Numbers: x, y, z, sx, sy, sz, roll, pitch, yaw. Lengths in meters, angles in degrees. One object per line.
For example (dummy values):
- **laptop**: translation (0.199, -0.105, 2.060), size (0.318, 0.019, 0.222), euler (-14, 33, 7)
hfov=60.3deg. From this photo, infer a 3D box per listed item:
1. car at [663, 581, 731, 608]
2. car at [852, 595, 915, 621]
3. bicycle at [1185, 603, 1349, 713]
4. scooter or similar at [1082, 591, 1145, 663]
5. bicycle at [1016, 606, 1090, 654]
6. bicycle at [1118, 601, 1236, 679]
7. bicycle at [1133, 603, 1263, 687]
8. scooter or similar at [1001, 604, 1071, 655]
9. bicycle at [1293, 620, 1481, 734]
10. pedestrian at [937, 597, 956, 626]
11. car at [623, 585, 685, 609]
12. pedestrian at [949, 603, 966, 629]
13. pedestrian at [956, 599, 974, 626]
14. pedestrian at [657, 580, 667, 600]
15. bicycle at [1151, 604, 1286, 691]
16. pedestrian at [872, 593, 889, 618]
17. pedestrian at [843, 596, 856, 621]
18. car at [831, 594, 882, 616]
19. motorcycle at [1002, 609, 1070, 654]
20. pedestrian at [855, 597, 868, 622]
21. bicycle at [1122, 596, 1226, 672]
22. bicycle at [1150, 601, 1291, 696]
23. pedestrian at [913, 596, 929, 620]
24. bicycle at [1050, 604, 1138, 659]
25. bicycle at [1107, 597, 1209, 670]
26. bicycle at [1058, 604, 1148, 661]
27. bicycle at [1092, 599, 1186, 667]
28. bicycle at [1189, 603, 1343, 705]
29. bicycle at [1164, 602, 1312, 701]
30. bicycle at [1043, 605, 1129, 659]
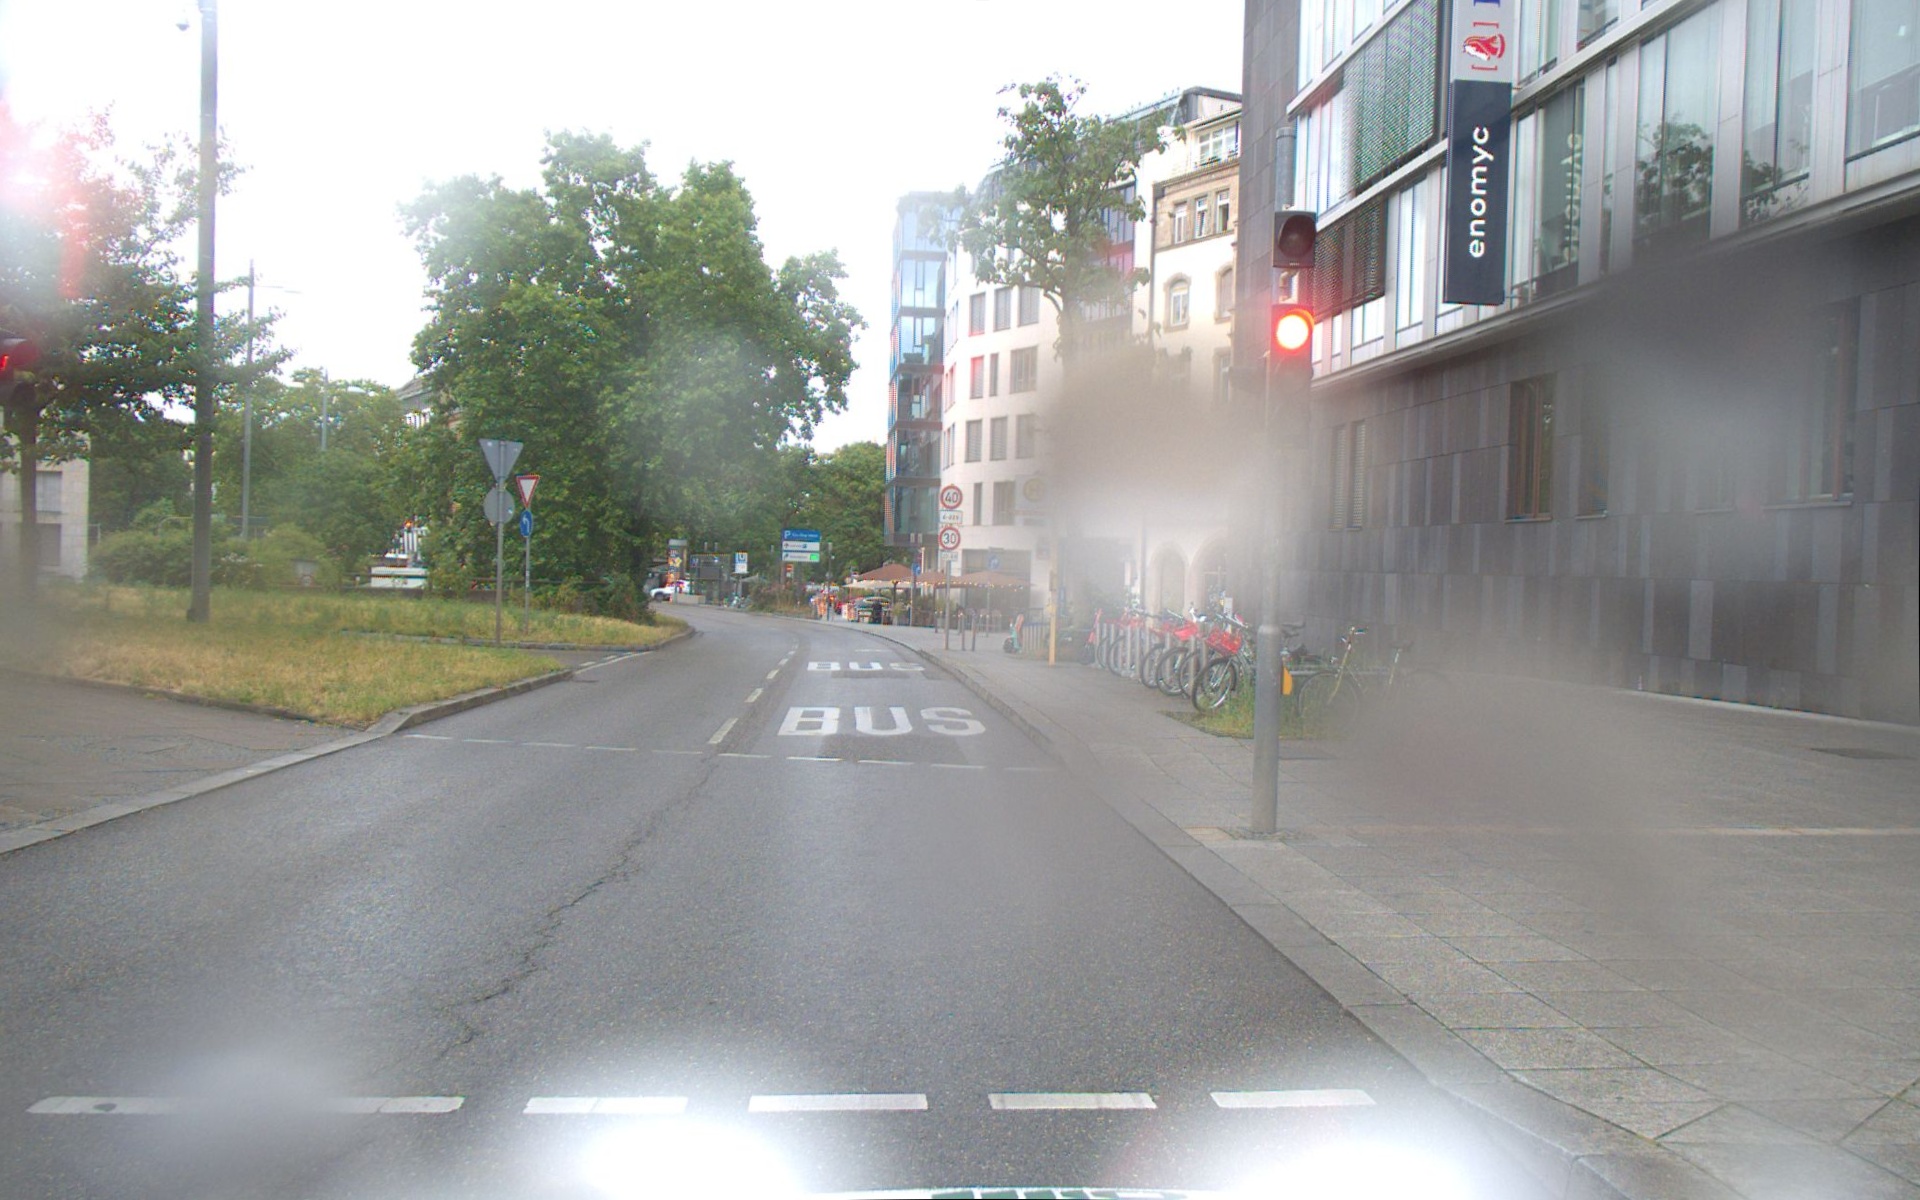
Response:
- **car**: translation (-19.056, -0.415, 120.085), size (4.643, 1.720, 2.003), euler (3, 0, -5)
- **car**: translation (-5.766, 0.592, 124.585), size (4.643, 1.720, 2.003), euler (3, 0, -5)
- **bicycle**: translation (3.482, 0.651, 18.799), size (1.698, 1.204, 0.687), euler (1, 0, -11)
- **scooter or similar**: translation (2.800, 0.497, 30.150), size (1.086, 1.280, 0.302), euler (2, -1, -12)
- **bicycle**: translation (2.403, 0.777, 42.639), size (1.762, 1.127, 0.668), euler (3, -1, -11)
- **bicycle**: translation (3.358, 0.627, 25.691), size (1.675, 1.160, 0.687), euler (2, -1, -11)
- **bicycle**: translation (3.390, 0.638, 23.557), size (1.698, 1.160, 0.687), euler (1, 0, -11)
- **scooter or similar**: translation (2.060, 0.799, 44.724), size (1.759, 1.265, 0.594), euler (3, -1, -10)
- **bicycle**: translation (4.281, 0.764, 16.627), size (1.698, 1.089, 0.687), euler (1, 0, -11)
- **pedestrian**: translation (-0.654, 0.558, 80.844), size (0.759, 1.349, 0.634), euler (4, -1, -9)
- **car**: translation (-23.603, -0.247, 127.464), size (4.239, 1.695, 1.955), euler (2, -1, 8)
- **pedestrian**: translation (-0.147, 0.843, 87.359), size (0.620, 1.349, 0.630), euler (4, -1, -29)
- **pedestrian**: translation (0.265, 0.654, 86.186), size (0.620, 1.349, 0.630), euler (4, -1, -29)
- **pedestrian**: translation (-25.044, -0.836, 139.114), size (0.707, 1.731, 0.618), euler (1, -1, 3)
- **bicycle**: translation (3.536, 0.647, 22.692), size (1.698, 1.160, 0.687), euler (1, 0, -11)
- **pedestrian**: translation (-4.600, 0.314, 95.816), size (0.802, 1.349, 0.634), euler (4, -1, -9)
- **pedestrian**: translation (-6.276, 0.492, 93.660), size (0.595, 1.349, 0.566), euler (4, -1, -9)
- **car**: translation (-8.267, 0.404, 131.681), size (3.928, 1.536, 1.790), euler (3, 1, 41)
- **motorcycle**: translation (2.088, 0.871, 45.461), size (1.759, 1.159, 0.594), euler (3, -1, -10)
- **pedestrian**: translation (-5.579, 0.552, 93.759), size (0.595, 1.349, 0.566), euler (4, -1, -9)
- **bicycle**: translation (3.414, 0.540, 26.441), size (1.507, 1.160, 0.687), euler (2, -1, -11)
- **bicycle**: translation (3.423, 0.635, 21.802), size (1.698, 1.204, 0.687), euler (1, 0, -11)
- **pedestrian**: translation (-2.254, 0.476, 96.231), size (0.802, 1.349, 0.634), euler (4, -1, -9)
- **bicycle**: translation (2.877, 0.678, 35.491), size (1.761, 1.087, 0.555), euler (3, -1, -10)
- **bicycle**: translation (3.254, 0.549, 27.205), size (1.507, 1.160, 0.687), euler (2, -1, -11)
- **bicycle**: translation (2.978, 0.675, 34.453), size (1.761, 1.087, 0.555), euler (3, -1, -10)
- **bicycle**: translation (3.134, 0.579, 29.014), size (1.507, 1.160, 0.661), euler (2, -1, -11)
- **bicycle**: translation (3.689, 0.646, 19.992), size (1.698, 1.204, 0.687), euler (1, 0, -11)
- **bicycle**: translation (3.496, 0.642, 20.827), size (1.698, 1.204, 0.687), euler (1, 0, -11)
- **bicycle**: translation (2.761, 0.693, 36.190), size (1.761, 1.087, 0.555), euler (3, -1, -10)
